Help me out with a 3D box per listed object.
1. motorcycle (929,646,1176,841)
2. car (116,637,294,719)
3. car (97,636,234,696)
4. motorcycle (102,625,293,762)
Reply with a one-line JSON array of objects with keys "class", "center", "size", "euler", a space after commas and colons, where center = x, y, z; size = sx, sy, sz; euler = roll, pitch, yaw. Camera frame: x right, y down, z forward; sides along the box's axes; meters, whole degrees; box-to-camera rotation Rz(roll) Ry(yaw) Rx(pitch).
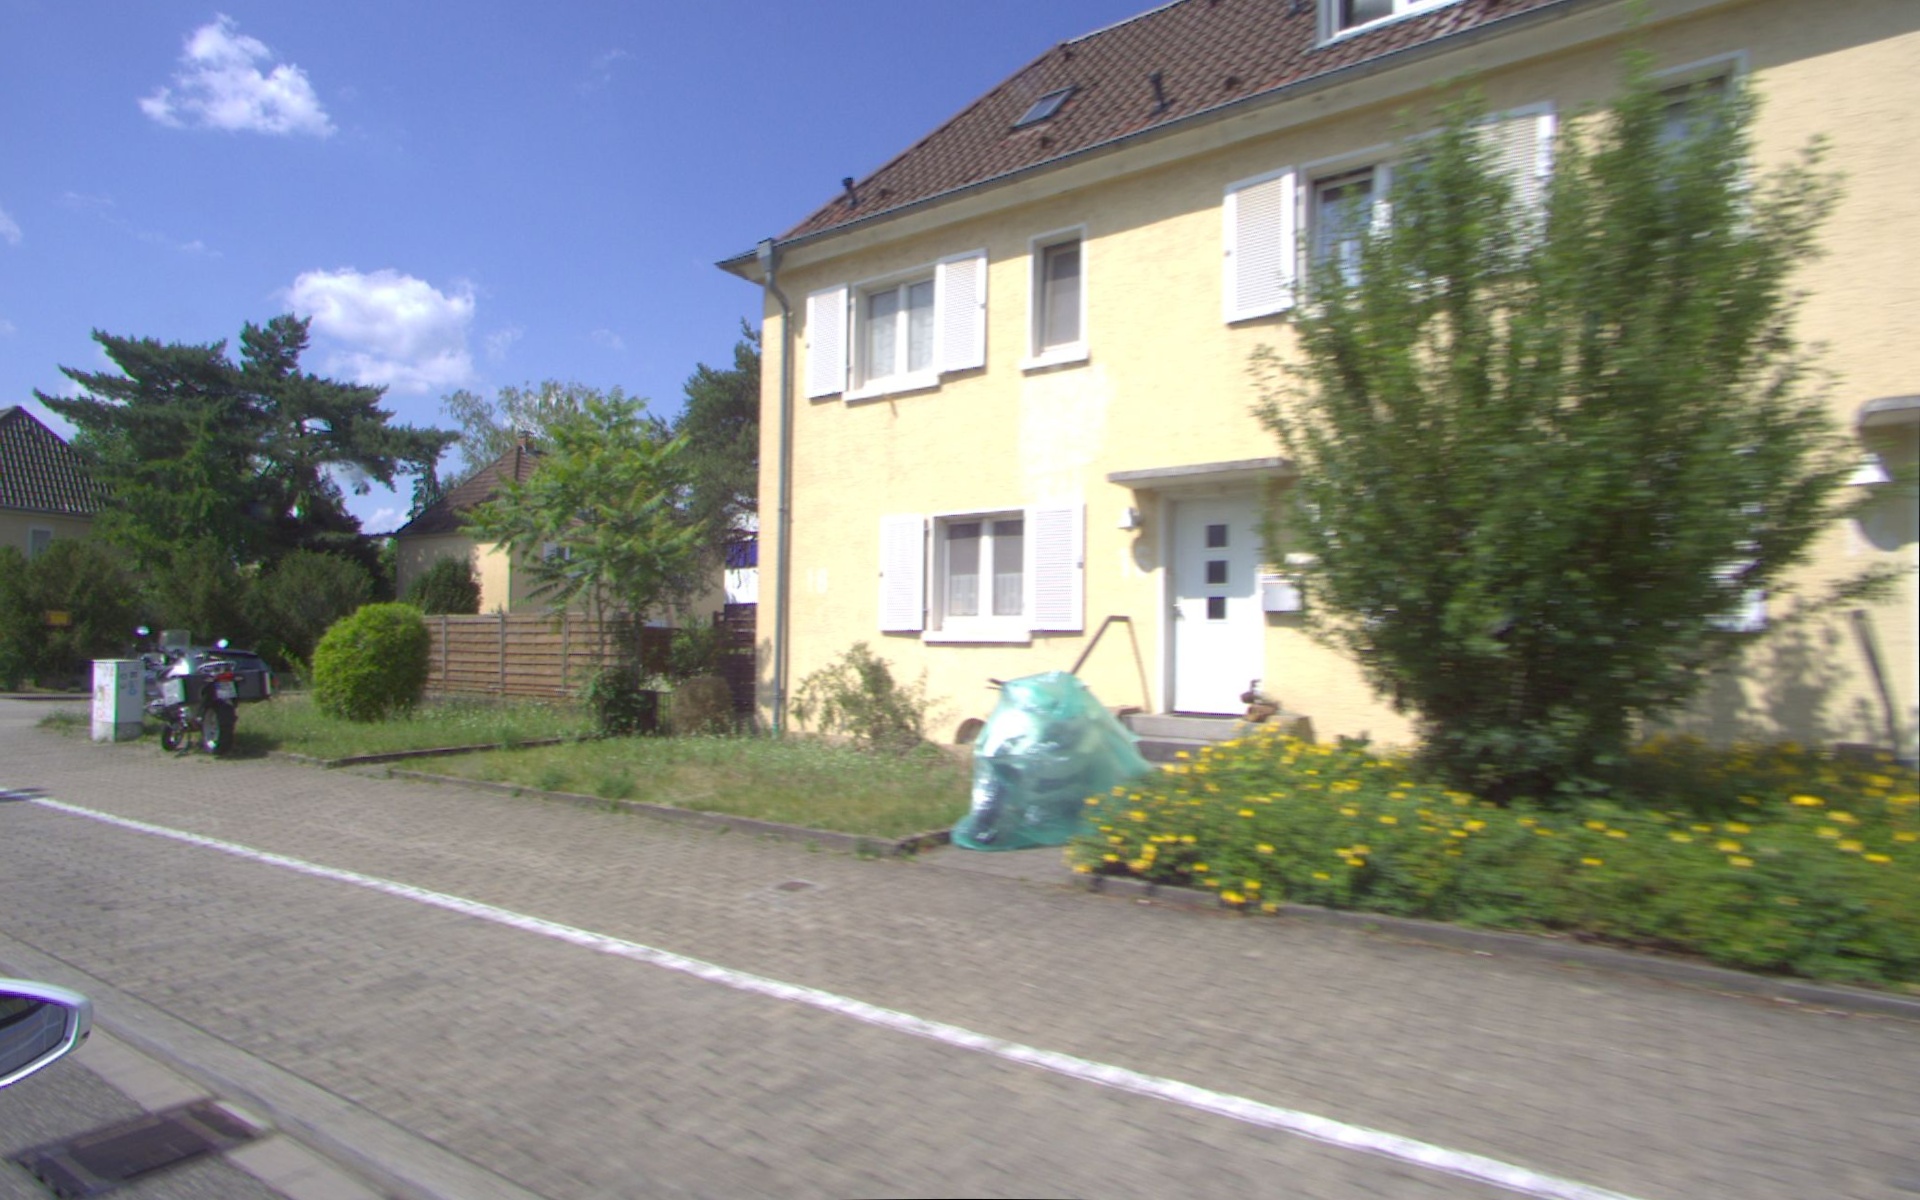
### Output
[{"class": "motorcycle", "center": [0.772, 0.963, 7.444], "size": [0.843, 1.212, 2.222], "euler": [-1, -3, 35]}, {"class": "car", "center": [-15.741, 1.576, 20.826], "size": [4.228, 1.398, 1.637], "euler": [1, -3, 34]}, {"class": "car", "center": [-22.297, 1.831, 28.096], "size": [3.751, 1.566, 1.628], "euler": [-1, -3, 28]}, {"class": "motorcycle", "center": [-9.298, 1.066, 12.182], "size": [2.549, 1.489, 1.044], "euler": [-1, 0, 33]}]
